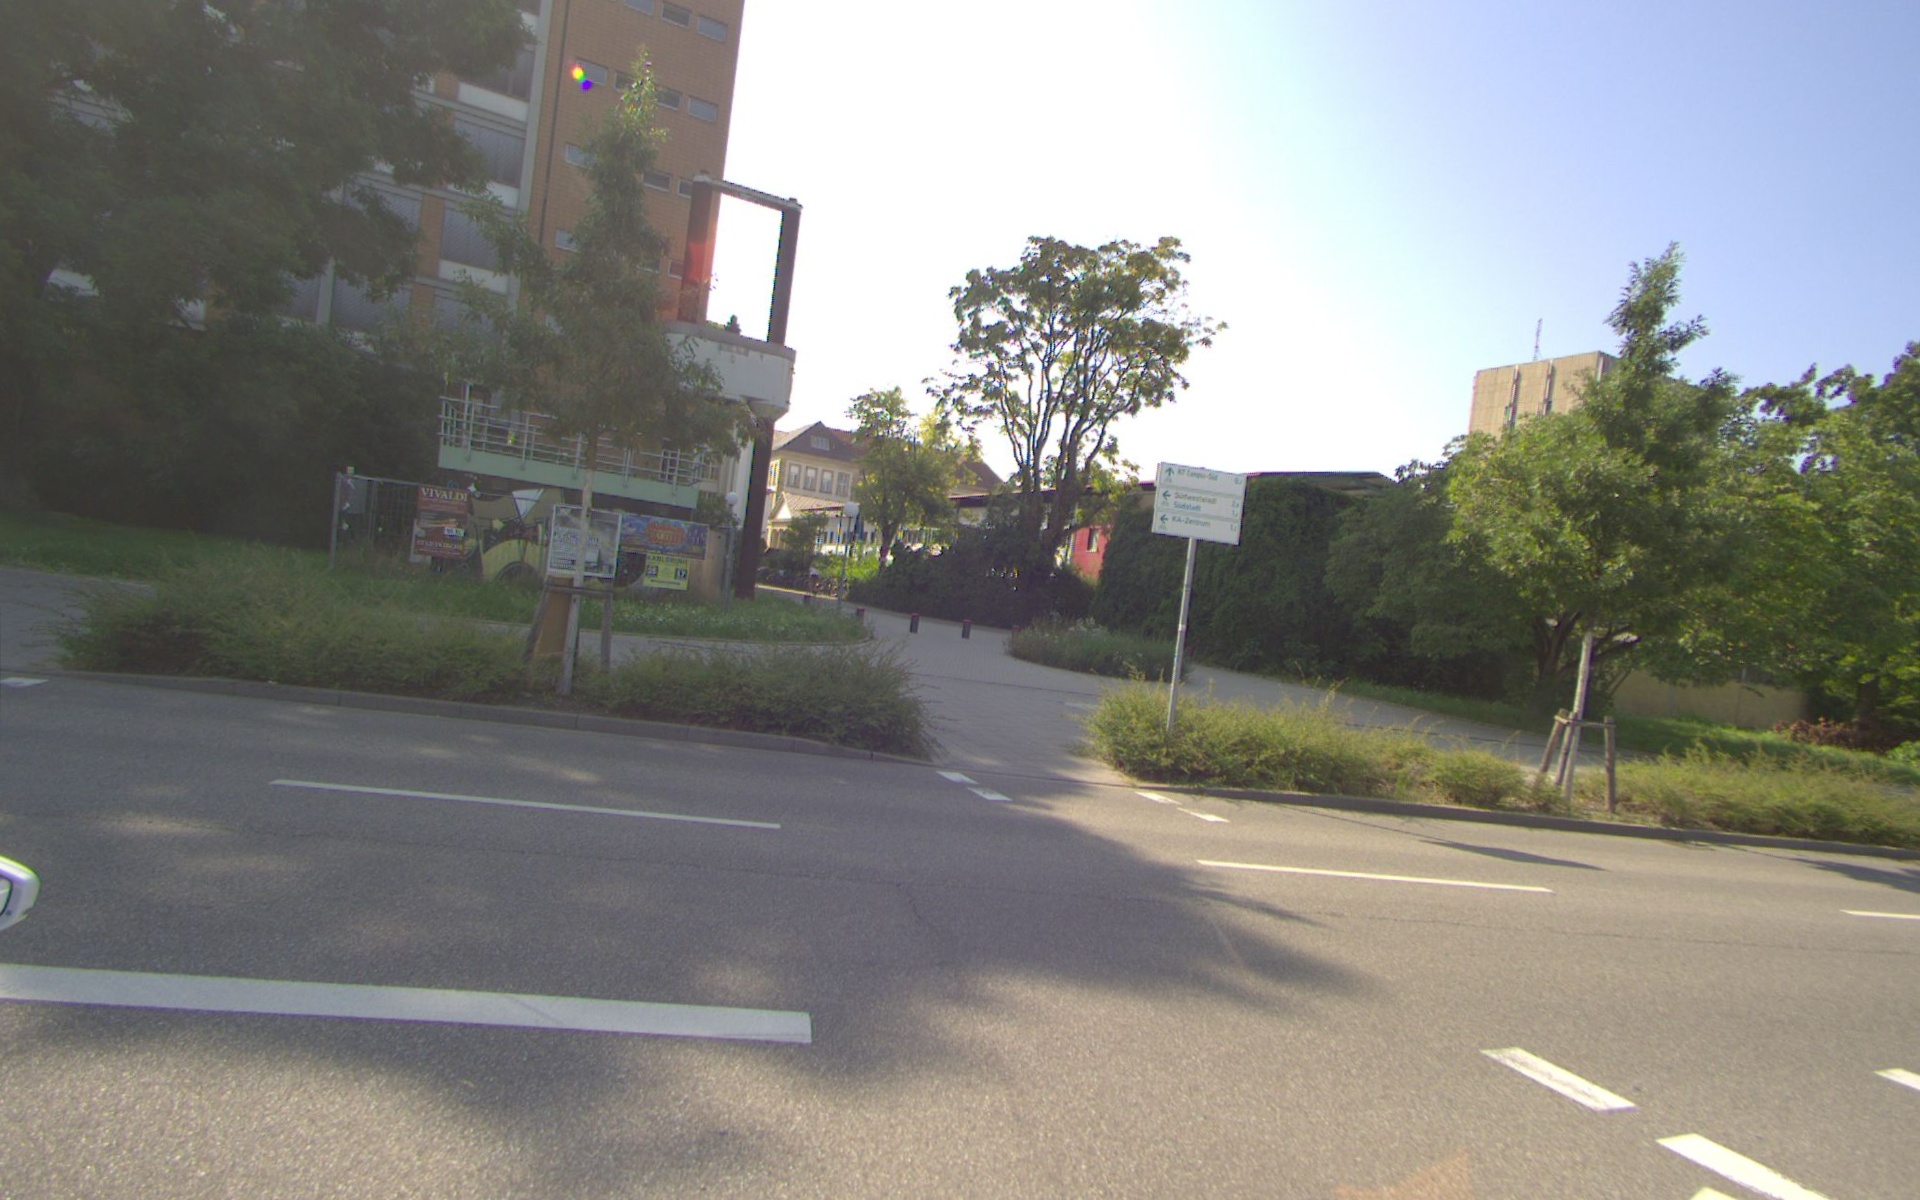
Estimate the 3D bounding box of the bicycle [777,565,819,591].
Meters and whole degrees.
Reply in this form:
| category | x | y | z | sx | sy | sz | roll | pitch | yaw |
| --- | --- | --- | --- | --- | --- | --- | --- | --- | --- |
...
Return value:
| category | x | y | z | sx | sy | sz | roll | pitch | yaw |
| --- | --- | --- | --- | --- | --- | --- | --- | --- | --- |
| bicycle | -10.347 | -1.393 | 64.335 | 2.402 | 1.243 | 0.716 | 9 | 1 | -21 |

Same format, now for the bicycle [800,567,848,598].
| category | x | y | z | sx | sy | sz | roll | pitch | yaw |
| --- | --- | --- | --- | --- | --- | --- | --- | --- | --- |
| bicycle | -7.585 | -0.971 | 56.035 | 2.402 | 1.334 | 0.716 | 9 | 1 | -21 |

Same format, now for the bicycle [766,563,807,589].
| category | x | y | z | sx | sy | sz | roll | pitch | yaw |
| --- | --- | --- | --- | --- | --- | --- | --- | --- | --- |
| bicycle | -11.296 | -1.542 | 65.649 | 2.402 | 1.297 | 0.716 | 9 | 1 | -21 |

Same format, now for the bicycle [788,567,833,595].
| category | x | y | z | sx | sy | sz | roll | pitch | yaw |
| --- | --- | --- | --- | --- | --- | --- | --- | --- | --- |
| bicycle | -8.810 | -1.141 | 59.481 | 2.402 | 1.238 | 0.716 | 9 | 1 | -21 |

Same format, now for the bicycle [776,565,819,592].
| category | x | y | z | sx | sy | sz | roll | pitch | yaw |
| --- | --- | --- | --- | --- | --- | --- | --- | --- | --- |
| bicycle | -10.223 | -1.343 | 63.267 | 2.402 | 1.254 | 0.716 | 9 | 1 | -21 |

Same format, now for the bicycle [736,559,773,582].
| category | x | y | z | sx | sy | sz | roll | pitch | yaw |
| --- | --- | --- | --- | --- | --- | --- | --- | --- | --- |
| bicycle | -15.046 | -2.169 | 73.713 | 2.402 | 1.296 | 0.716 | 9 | 1 | -21 |

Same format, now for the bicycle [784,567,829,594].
| category | x | y | z | sx | sy | sz | roll | pitch | yaw |
| --- | --- | --- | --- | --- | --- | --- | --- | --- | --- |
| bicycle | -9.257 | -1.199 | 60.667 | 2.402 | 1.238 | 0.716 | 9 | 1 | -21 |

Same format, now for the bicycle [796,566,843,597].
| category | x | y | z | sx | sy | sz | roll | pitch | yaw |
| --- | --- | --- | --- | --- | --- | --- | --- | --- | --- |
| bicycle | -7.977 | -1.044 | 57.092 | 2.402 | 1.334 | 0.716 | 9 | 1 | -21 |

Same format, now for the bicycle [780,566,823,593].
| category | x | y | z | sx | sy | sz | roll | pitch | yaw |
| --- | --- | --- | --- | --- | --- | --- | --- | --- | --- |
| bicycle | -9.859 | -1.284 | 62.416 | 2.402 | 1.249 | 0.716 | 9 | 1 | -21 |

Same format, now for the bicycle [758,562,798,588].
| category | x | y | z | sx | sy | sz | roll | pitch | yaw |
| --- | --- | --- | --- | --- | --- | --- | --- | --- | --- |
| bicycle | -12.030 | -1.655 | 66.541 | 2.402 | 1.297 | 0.716 | 9 | 1 | -21 |
